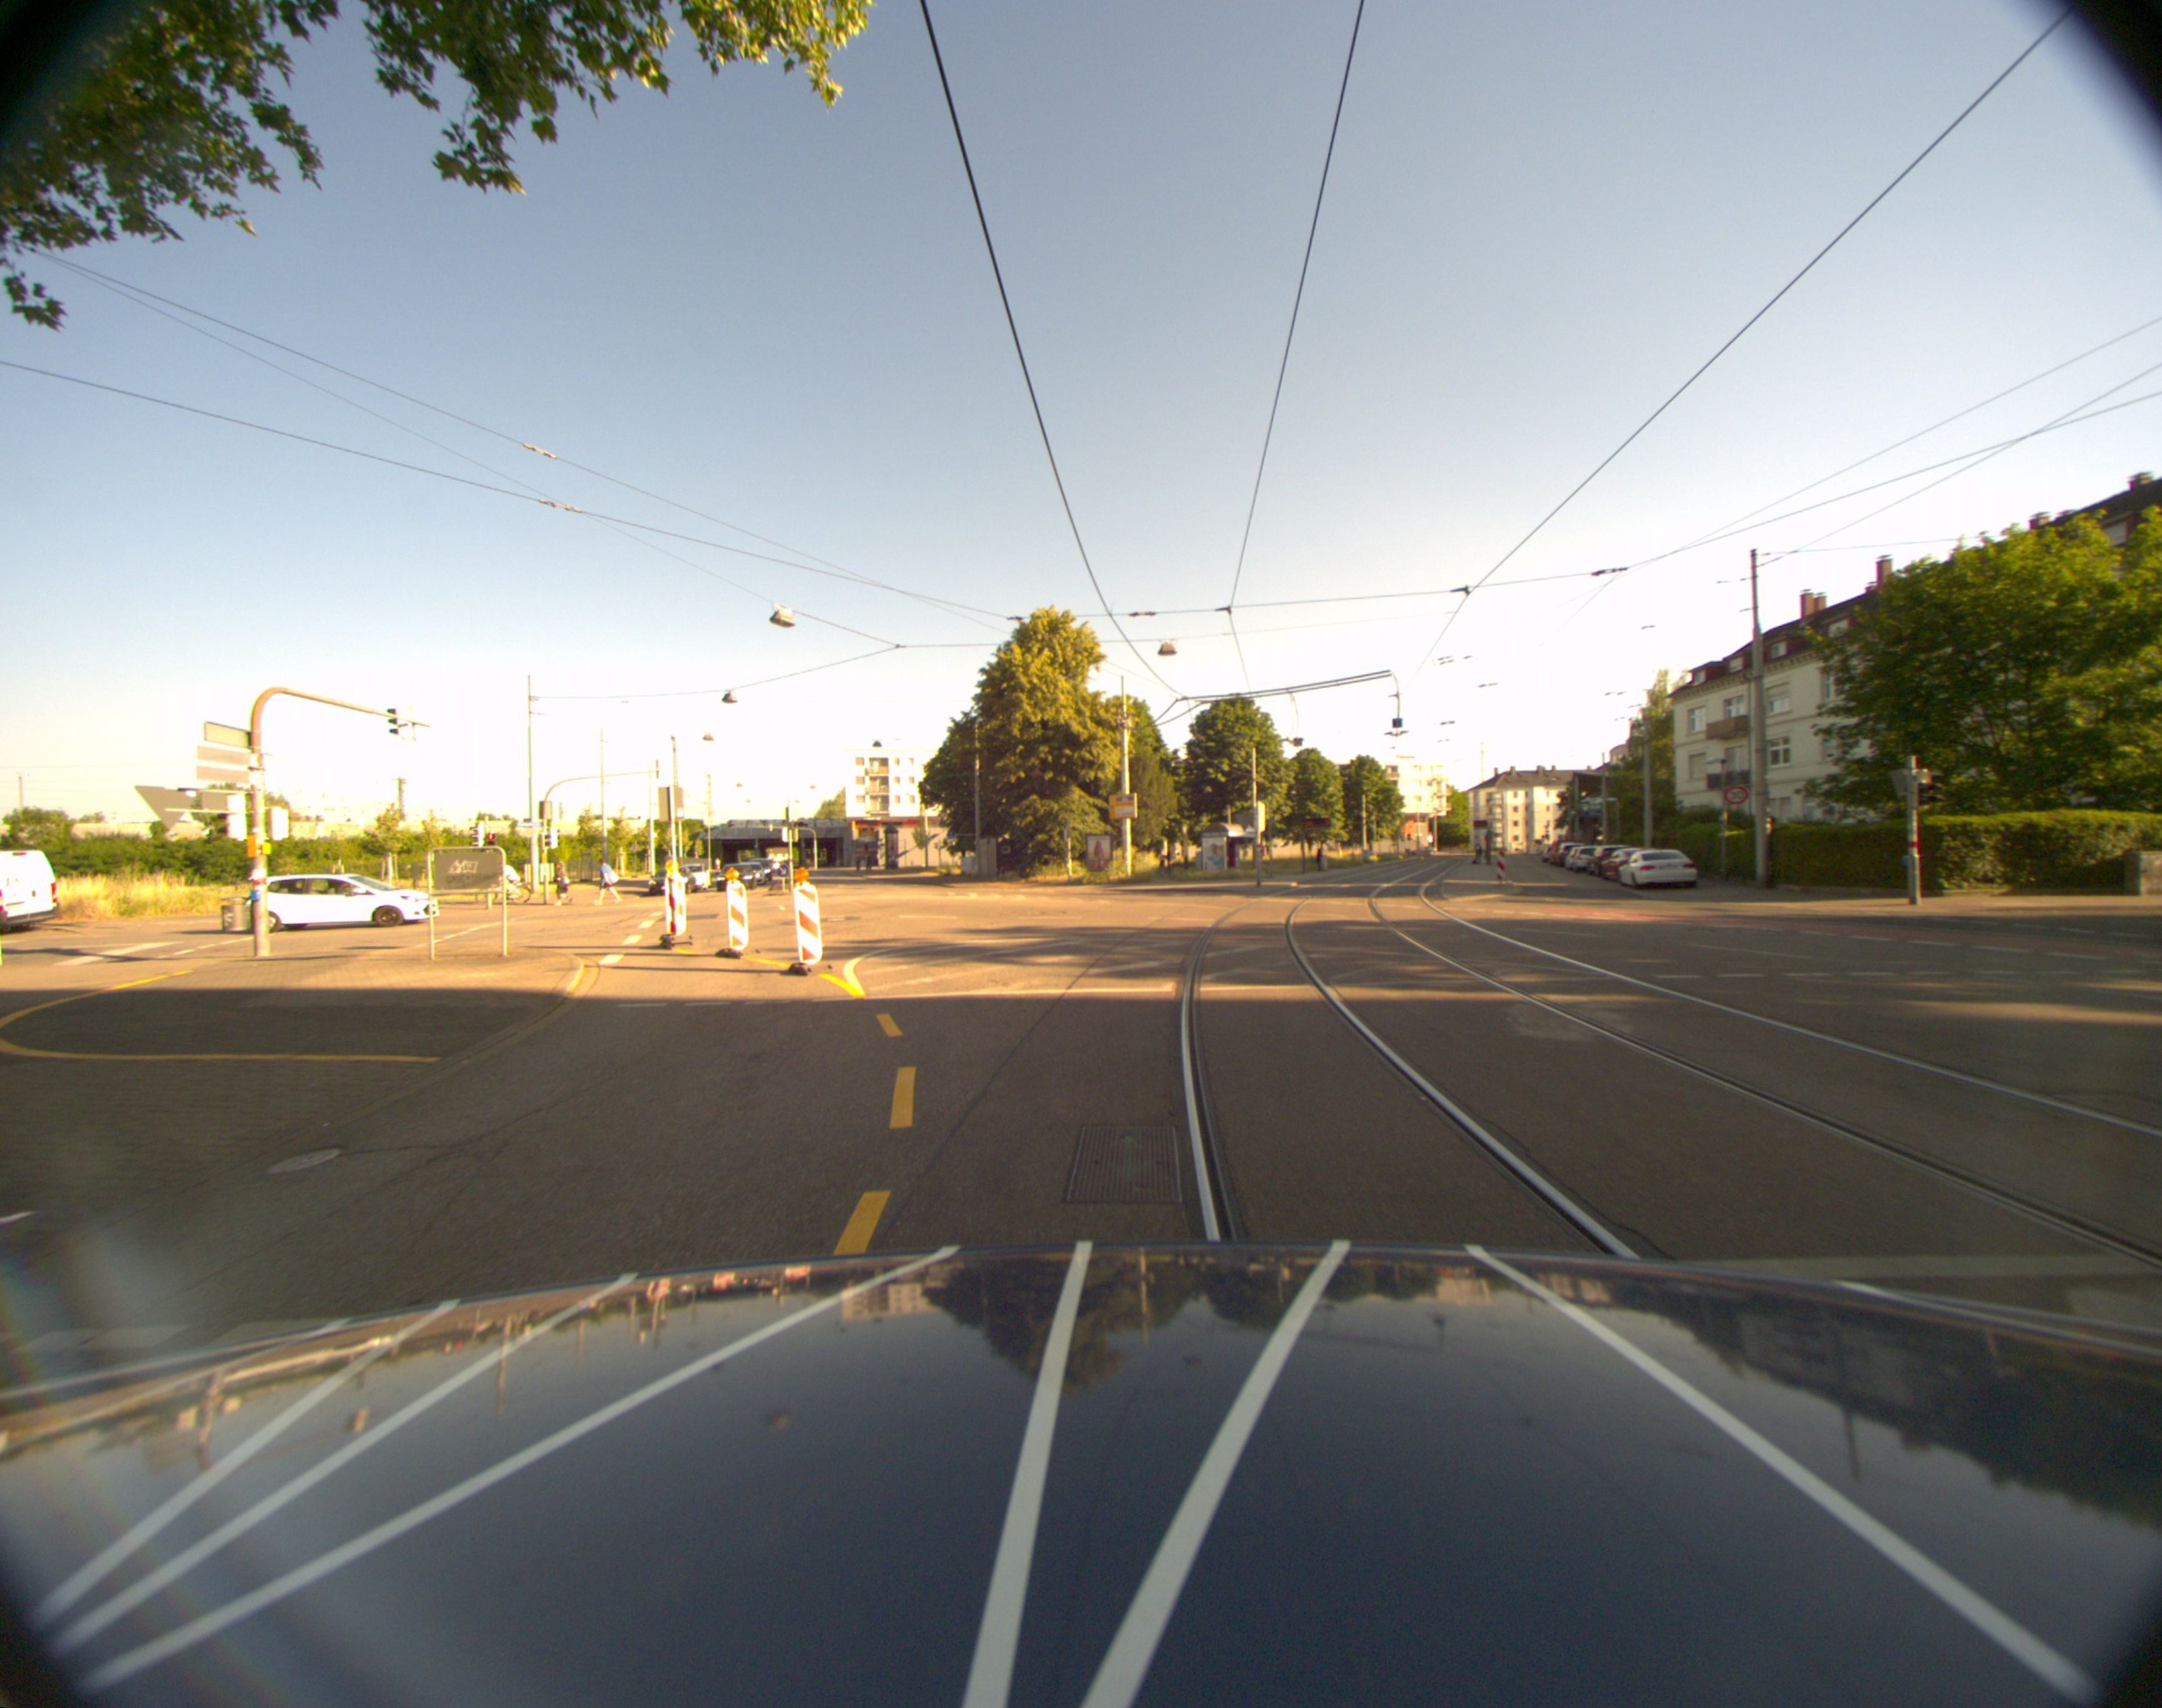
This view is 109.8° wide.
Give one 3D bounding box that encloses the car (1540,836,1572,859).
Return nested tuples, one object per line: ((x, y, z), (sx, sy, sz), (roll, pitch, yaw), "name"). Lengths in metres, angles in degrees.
((44.284, -0.633, 70.941), (2.052, 1.950, 5.160), (-3, 0, 28), "car")

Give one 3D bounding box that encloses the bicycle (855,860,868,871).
((-21.818, 1.164, 75.562), (0.664, 1.063, 2.014), (-2, 1, -31), "bicycle")

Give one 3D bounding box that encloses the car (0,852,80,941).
((-33.434, 1.281, 21.562), (5.567, 2.423, 2.231), (-2, 4, -23), "car")

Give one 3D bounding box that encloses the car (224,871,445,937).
((-19.573, 1.255, 20.161), (3.780, 1.460, 1.702), (-2, 1, -26), "car")

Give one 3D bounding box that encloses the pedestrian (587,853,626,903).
((-18.708, 0.920, 29.973), (1.068, 1.914, 0.913), (-2, 1, -18), "pedestrian")

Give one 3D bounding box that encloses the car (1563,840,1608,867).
((30.429, -0.050, 45.937), (1.840, 1.439, 3.965), (-3, 0, 28), "car")

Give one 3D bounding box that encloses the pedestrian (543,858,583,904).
((-20.621, 1.059, 30.260), (1.068, 1.737, 0.913), (-2, 1, -18), "pedestrian")

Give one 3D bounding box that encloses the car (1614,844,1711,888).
((21.062, 0.386, 27.727), (1.926, 1.368, 4.504), (-3, 0, 27), "car")

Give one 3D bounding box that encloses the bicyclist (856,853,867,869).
((-21.845, 0.663, 75.578), (0.699, 1.523, 1.035), (-2, 1, -31), "bicyclist")

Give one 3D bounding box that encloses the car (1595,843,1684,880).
((23.597, 0.282, 32.290), (1.982, 1.368, 4.712), (-3, 0, 23), "car")

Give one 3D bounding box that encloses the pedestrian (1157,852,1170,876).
((5.237, 0.602, 48.151), (0.671, 1.484, 0.849), (-1, 1, -5), "pedestrian")

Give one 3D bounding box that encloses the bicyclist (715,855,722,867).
((-46.639, 0.900, 97.785), (0.778, 1.596, 0.856), (-1, 0, -23), "bicyclist")

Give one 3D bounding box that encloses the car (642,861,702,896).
((-20.931, 1.230, 39.080), (2.001, 1.558, 4.267), (-3, 1, -19), "car")

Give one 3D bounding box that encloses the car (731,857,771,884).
((-21.066, 1.000, 48.654), (2.002, 1.558, 4.448), (-2, 1, -19), "car")

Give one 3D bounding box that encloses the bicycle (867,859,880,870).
((-20.925, 1.069, 76.443), (0.664, 1.063, 2.014), (-2, 1, -33), "bicycle")

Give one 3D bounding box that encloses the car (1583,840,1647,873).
((26.372, 0.096, 37.662), (1.982, 1.439, 4.713), (-3, 0, 28), "car")

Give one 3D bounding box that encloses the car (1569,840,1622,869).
((28.245, 0.013, 41.858), (1.982, 1.439, 3.725), (-3, 0, 28), "car")

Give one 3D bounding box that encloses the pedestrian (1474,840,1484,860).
((30.924, -0.298, 59.054), (0.566, 1.492, 0.680), (-1, 1, 41), "pedestrian")

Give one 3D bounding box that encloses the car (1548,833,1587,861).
((37.314, -0.566, 58.386), (2.052, 1.950, 5.160), (-3, 0, 28), "car")

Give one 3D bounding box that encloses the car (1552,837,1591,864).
((34.052, -0.267, 52.807), (1.840, 1.658, 4.377), (-3, 0, 28), "car")

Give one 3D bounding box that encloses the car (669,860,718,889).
((-23.022, 1.171, 45.268), (2.002, 1.558, 4.267), (-2, 1, -19), "car")

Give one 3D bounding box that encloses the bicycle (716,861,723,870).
((-46.590, 1.506, 97.866), (0.664, 1.063, 2.015), (-2, 1, -22), "bicycle")

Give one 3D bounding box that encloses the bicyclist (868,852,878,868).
((-20.923, 0.609, 76.389), (0.662, 1.523, 1.035), (-2, 1, -32), "bicyclist")

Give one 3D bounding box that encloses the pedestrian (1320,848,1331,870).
((15.743, 0.314, 48.909), (0.596, 1.419, 0.506), (-1, 1, 21), "pedestrian")

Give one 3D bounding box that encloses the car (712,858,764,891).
((-18.386, 1.048, 40.911), (2.055, 1.558, 4.443), (-2, 1, -18), "car")
